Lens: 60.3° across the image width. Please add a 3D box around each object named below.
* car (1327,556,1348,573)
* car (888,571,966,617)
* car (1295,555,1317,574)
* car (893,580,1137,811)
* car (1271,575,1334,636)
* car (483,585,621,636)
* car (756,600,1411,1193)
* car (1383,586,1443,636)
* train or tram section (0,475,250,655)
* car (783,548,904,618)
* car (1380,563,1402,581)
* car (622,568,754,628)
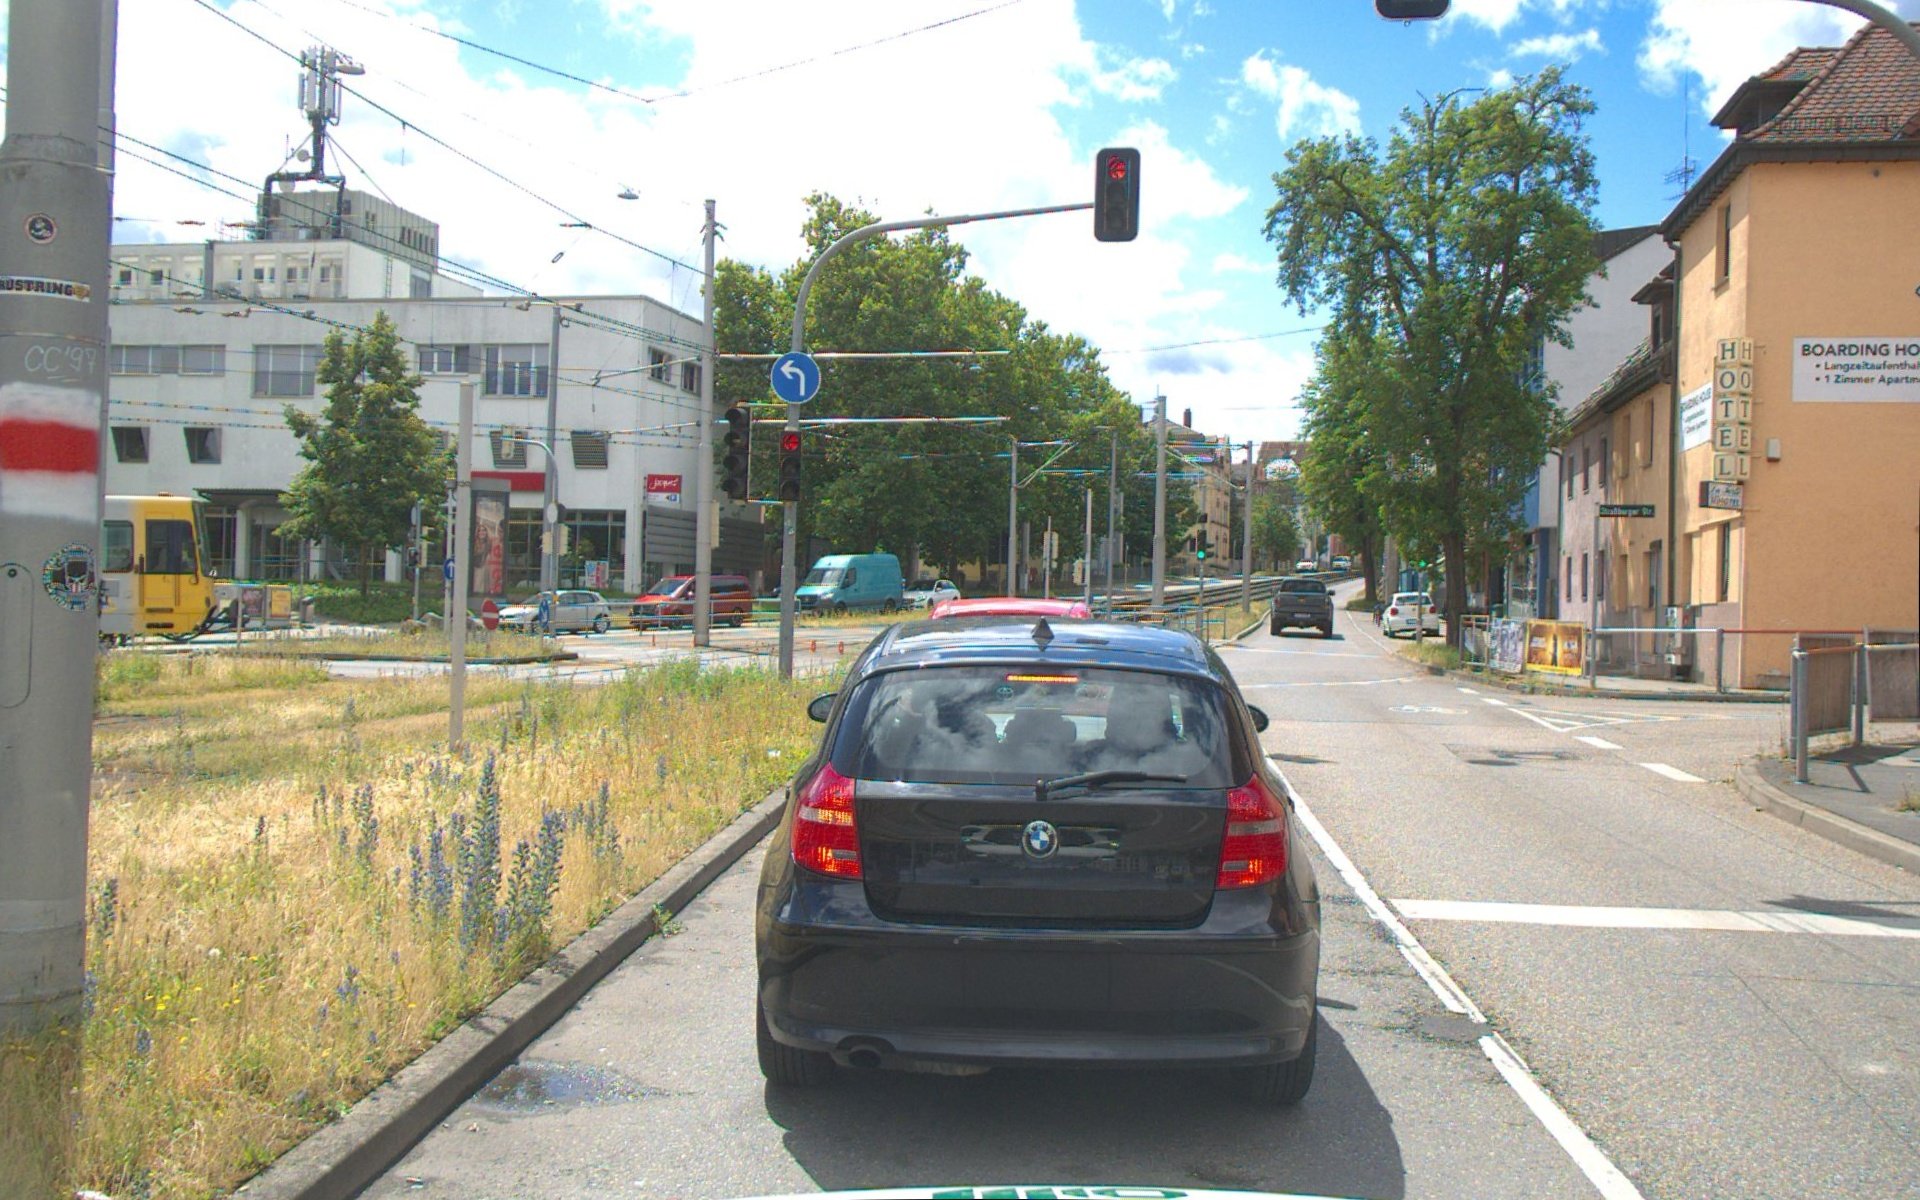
[{"bbox_3d":[47.430,-4.475,207.822,1.952,2.049,4.000,-1,-1,21],"label":"car"},{"bbox_3d":[-1.414,-0.236,73.822,1.814,1.962,4.798,-1,-1,21],"label":"car"},{"bbox_3d":[39.426,-4.055,188.396,1.952,2.049,4.000,-1,-1,21],"label":"car"},{"bbox_3d":[0.547,0.644,12.791,1.590,1.499,4.002,0,-1,6],"label":"car"},{"bbox_3d":[11.332,0.195,54.747,1.956,1.920,5.154,0,-1,12],"label":"car"},{"bbox_3d":[-13.457,0.359,54.662,1.826,1.613,4.144,-1,-1,42],"label":"car"},{"bbox_3d":[0.219,0.764,6.199,1.667,1.477,3.997,0,-1,-3],"label":"car"},{"bbox_3d":[15.317,0.373,56.107,1.749,1.624,4.003,0,-1,12],"label":"car"},{"bbox_3d":[-26.048,-0.731,35.517,19.705,3.881,3.736,0,-1,-22],"label":"train or tram section"},{"bbox_3d":[-4.706,-0.641,67.693,2.091,2.701,5.678,-1,-1,31],"label":"car"},{"bbox_3d":[42.446,-2.719,162.839,1.951,1.691,4.002,-1,-1,17],"label":"car"},{"bbox_3d":[-9.736,-0.052,59.520,1.822,2.044,4.777,-1,-1,37],"label":"car"}]
